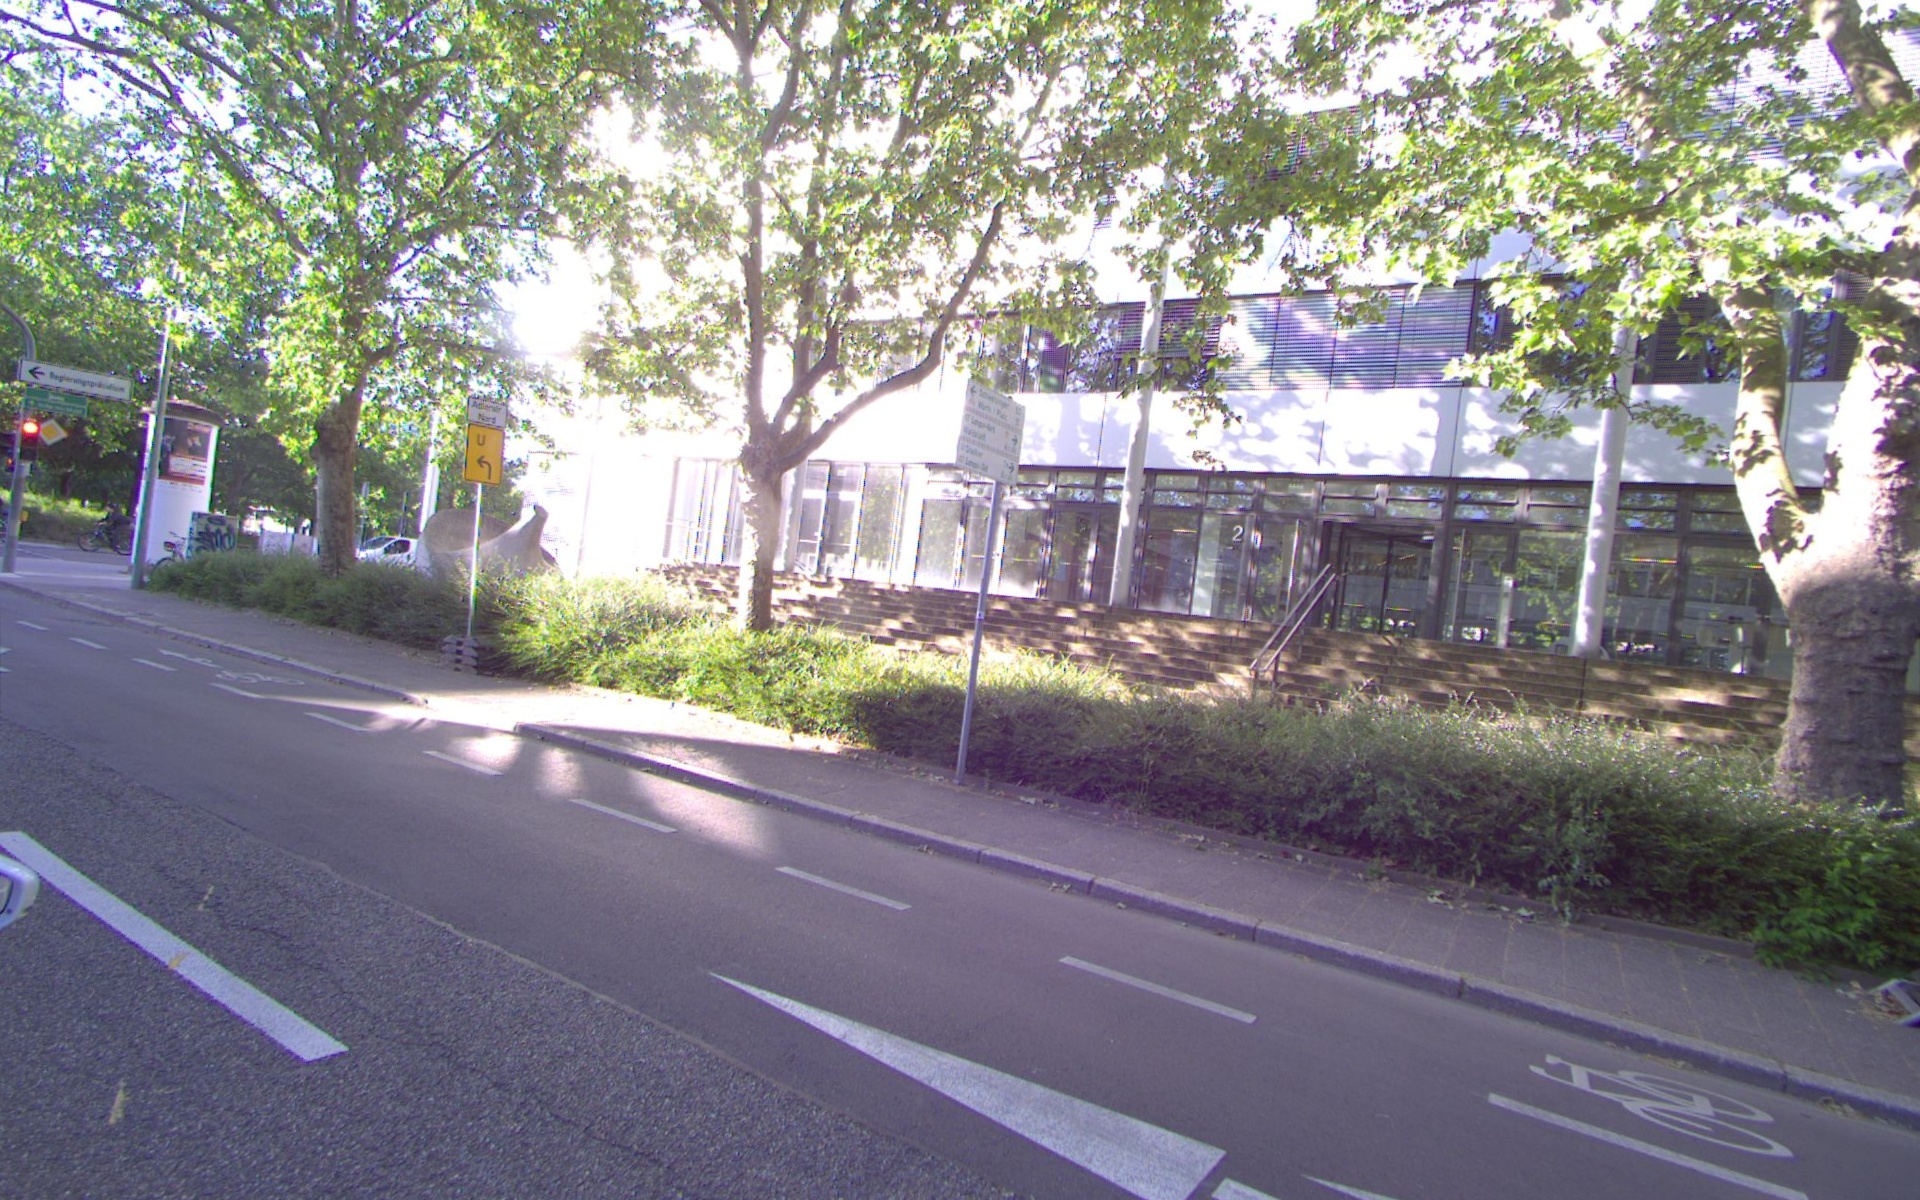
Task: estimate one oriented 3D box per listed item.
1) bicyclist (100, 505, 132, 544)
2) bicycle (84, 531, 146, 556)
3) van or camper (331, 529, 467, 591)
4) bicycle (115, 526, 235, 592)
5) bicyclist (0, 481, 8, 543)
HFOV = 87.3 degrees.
[{"bbox_3d":[-30.266,-2.701,36.079,0.450,1.275,0.704,7,0,35],"label":"bicyclist"},{"bbox_3d":[-30.355,-2.014,36.158,0.488,0.642,1.588,7,-1,35],"label":"bicycle"},{"bbox_3d":[-23.820,-1.672,42.905,1.965,1.964,4.590,7,-1,28],"label":"van or camper"},{"bbox_3d":[-16.177,-0.827,20.773,0.502,1.110,1.806,7,-1,34],"label":"bicycle"},{"bbox_3d":[-32.083,-2.969,33.230,0.432,2.038,0.653,7,0,29],"label":"bicyclist"}]
